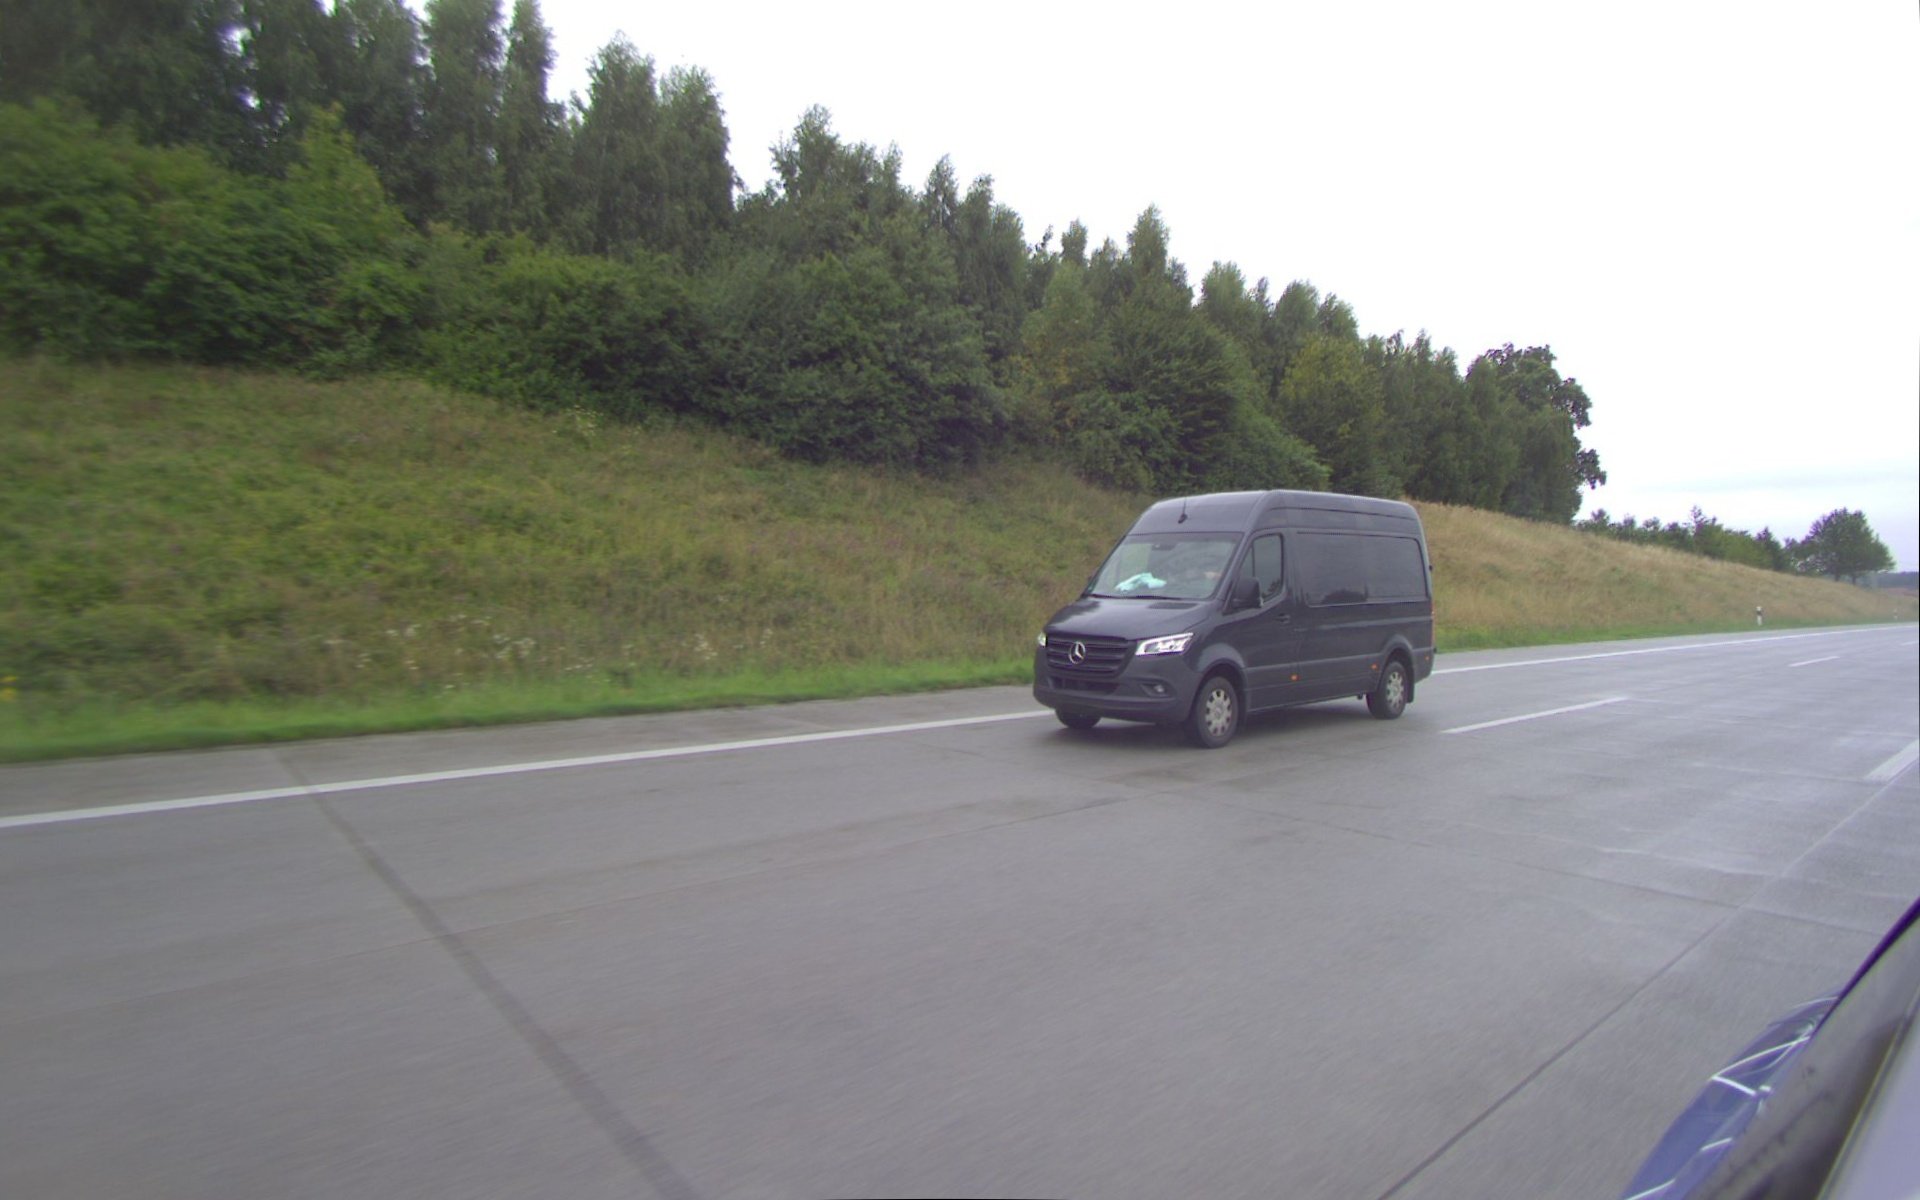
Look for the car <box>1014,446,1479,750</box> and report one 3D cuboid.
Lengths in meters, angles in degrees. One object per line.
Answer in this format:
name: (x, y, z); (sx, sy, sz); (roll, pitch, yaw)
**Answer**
car: (3.648, -0.017, 11.817); (6.469, 2.693, 1.945); (0, 0, -40)
